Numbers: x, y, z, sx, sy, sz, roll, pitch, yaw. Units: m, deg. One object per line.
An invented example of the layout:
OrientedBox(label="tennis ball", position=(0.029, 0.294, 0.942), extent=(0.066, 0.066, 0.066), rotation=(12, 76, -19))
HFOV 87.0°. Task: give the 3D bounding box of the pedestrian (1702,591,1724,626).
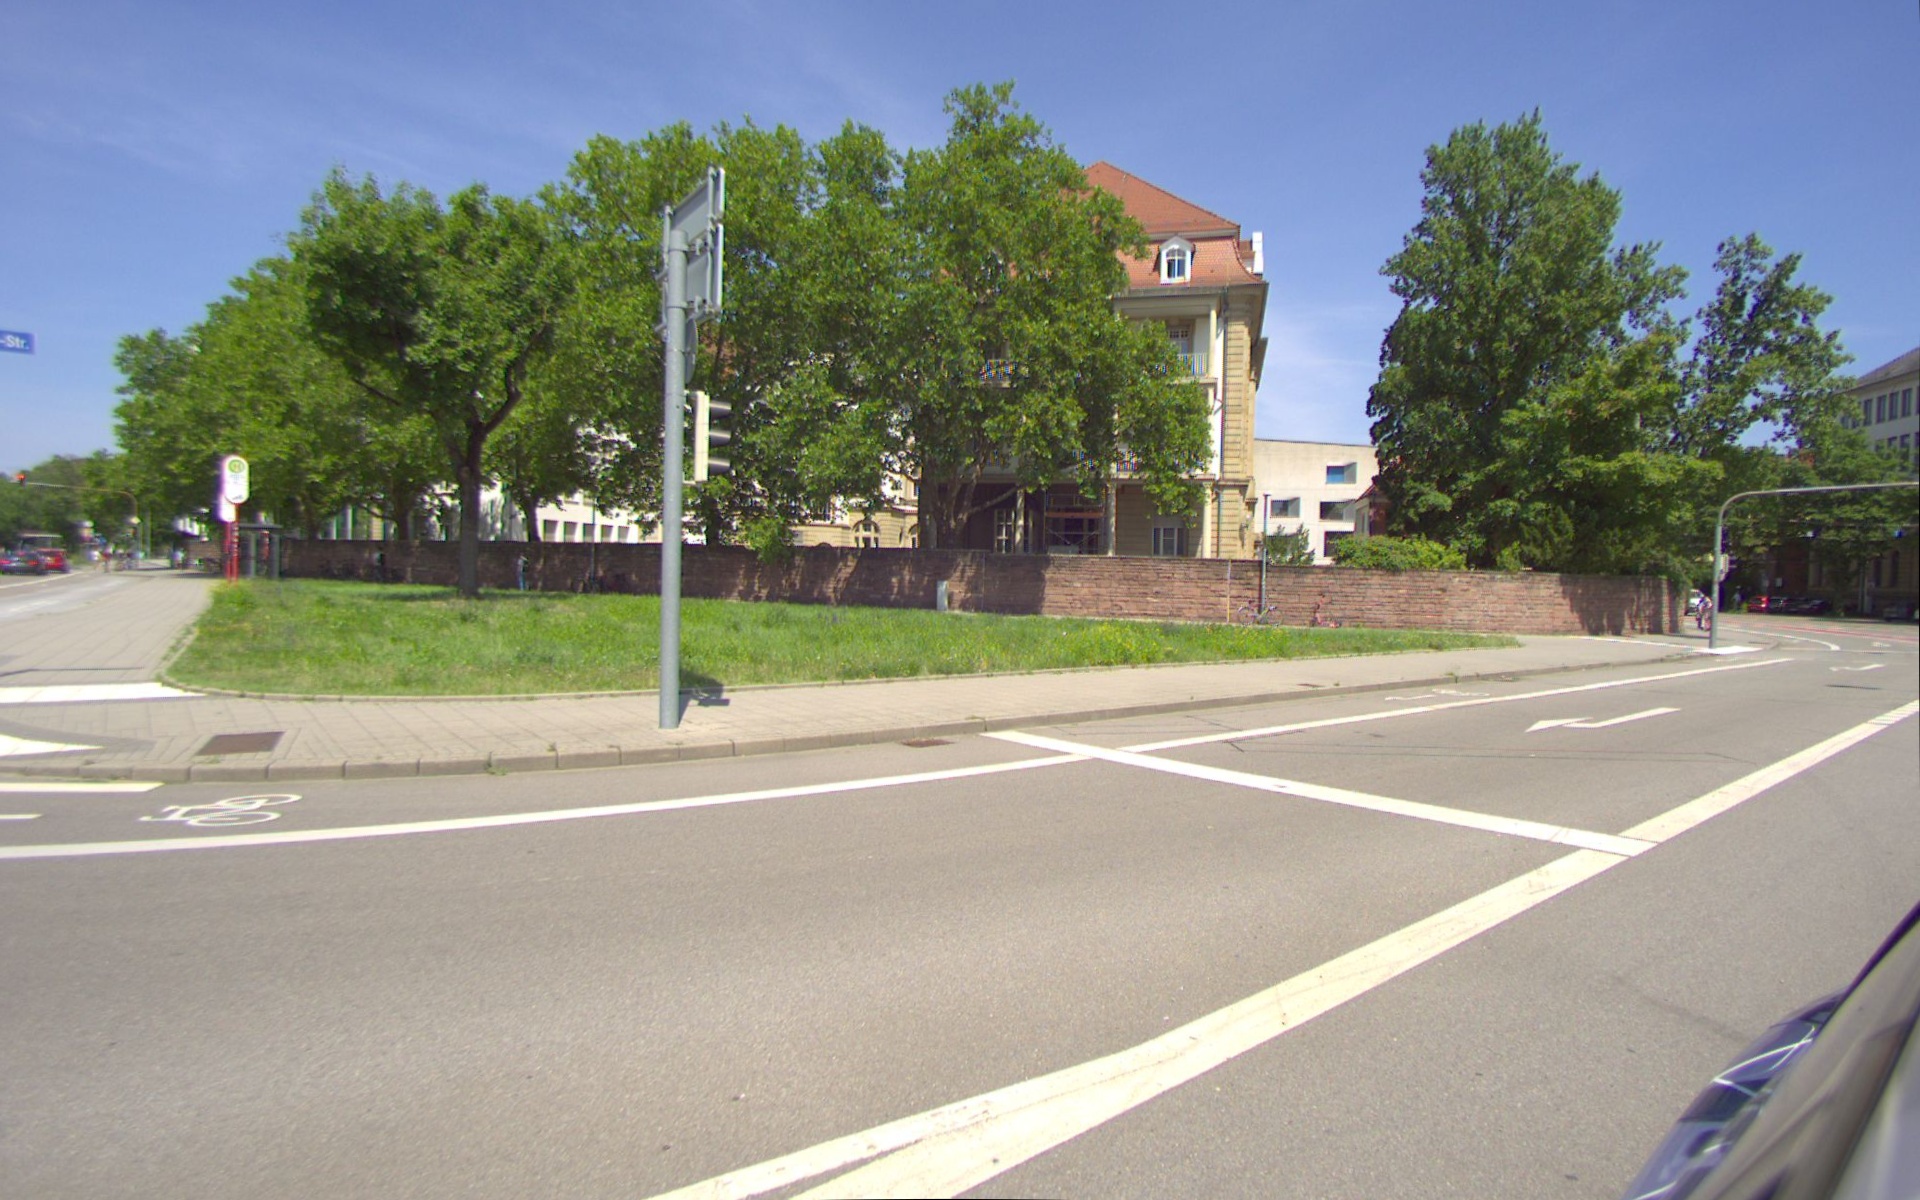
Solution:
OrientedBox(label="pedestrian", position=(36.362, 0.425, 48.865), extent=(0.597, 1.631, 0.555), rotation=(4, 1, 18))

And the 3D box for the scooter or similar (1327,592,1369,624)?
OrientedBox(label="scooter or similar", position=(13.724, 0.266, 35.797), extent=(1.323, 1.123, 0.375), rotation=(0, 0, -2))

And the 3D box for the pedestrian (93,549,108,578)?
OrientedBox(label="pedestrian", position=(-61.953, -2.639, 72.971), extent=(0.775, 2.039, 0.963), rotation=(0, 0, -40))

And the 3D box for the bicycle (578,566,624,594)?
OrientedBox(label="bicycle", position=(-15.767, -0.885, 44.427), extent=(2.144, 1.197, 0.454), rotation=(0, 0, 23))

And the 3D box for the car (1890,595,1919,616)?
OrientedBox(label="car", position=(68.645, 0.405, 72.234), extent=(3.089, 1.481, 1.572), rotation=(0, 0, -2))

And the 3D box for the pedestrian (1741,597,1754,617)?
OrientedBox(label="pedestrian", position=(69.188, 0.629, 88.938), extent=(0.715, 1.691, 0.640), rotation=(2, 1, 20))

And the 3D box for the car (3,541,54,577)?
OrientedBox(label="car", position=(-56.113, -2.442, 61.018), extent=(1.964, 2.039, 4.210), rotation=(0, 0, -39))

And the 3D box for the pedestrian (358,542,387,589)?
OrientedBox(label="pedestrian", position=(-29.809, -1.734, 51.342), extent=(1.066, 2.320, 0.840), rotation=(0, 0, 30))

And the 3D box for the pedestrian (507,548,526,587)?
OrientedBox(label="pedestrian", position=(-19.855, -1.442, 45.337), extent=(0.521, 1.743, 0.584), rotation=(0, 0, 26))

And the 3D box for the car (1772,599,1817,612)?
OrientedBox(label="car", position=(72.511, 0.462, 87.951), extent=(2.931, 1.113, 1.282), rotation=(0, 0, -3))

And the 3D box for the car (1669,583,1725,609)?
OrientedBox(label="car", position=(55.289, -0.280, 75.979), extent=(1.681, 1.887, 4.247), rotation=(0, 0, 10))

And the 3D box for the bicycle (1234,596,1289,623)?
OrientedBox(label="bicycle", position=(10.639, 0.330, 35.759), extent=(1.743, 0.940, 0.678), rotation=(0, 0, 5))

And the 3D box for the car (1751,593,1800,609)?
OrientedBox(label="car", position=(73.880, 0.064, 91.691), extent=(3.504, 1.471, 1.619), rotation=(0, 0, -13))

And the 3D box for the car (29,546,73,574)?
OrientedBox(label="car", position=(-59.444, -2.584, 66.230), extent=(1.749, 1.705, 3.998), rotation=(0, 0, -37))

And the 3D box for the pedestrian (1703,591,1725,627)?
OrientedBox(label="pedestrian", position=(35.327, 0.426, 47.412), extent=(0.597, 1.631, 0.555), rotation=(4, 1, 18))

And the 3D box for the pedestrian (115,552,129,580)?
OrientedBox(label="pedestrian", position=(-61.195, -2.467, 73.868), extent=(0.775, 2.039, 0.839), rotation=(0, 0, -40))

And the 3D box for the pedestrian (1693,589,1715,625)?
OrientedBox(label="pedestrian", position=(37.348, 0.333, 50.810), extent=(0.597, 1.734, 0.555), rotation=(4, 1, 17))

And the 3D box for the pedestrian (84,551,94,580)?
OrientedBox(label="pedestrian", position=(-62.116, -2.457, 72.158), extent=(0.540, 2.039, 0.536), rotation=(0, 0, -39))
